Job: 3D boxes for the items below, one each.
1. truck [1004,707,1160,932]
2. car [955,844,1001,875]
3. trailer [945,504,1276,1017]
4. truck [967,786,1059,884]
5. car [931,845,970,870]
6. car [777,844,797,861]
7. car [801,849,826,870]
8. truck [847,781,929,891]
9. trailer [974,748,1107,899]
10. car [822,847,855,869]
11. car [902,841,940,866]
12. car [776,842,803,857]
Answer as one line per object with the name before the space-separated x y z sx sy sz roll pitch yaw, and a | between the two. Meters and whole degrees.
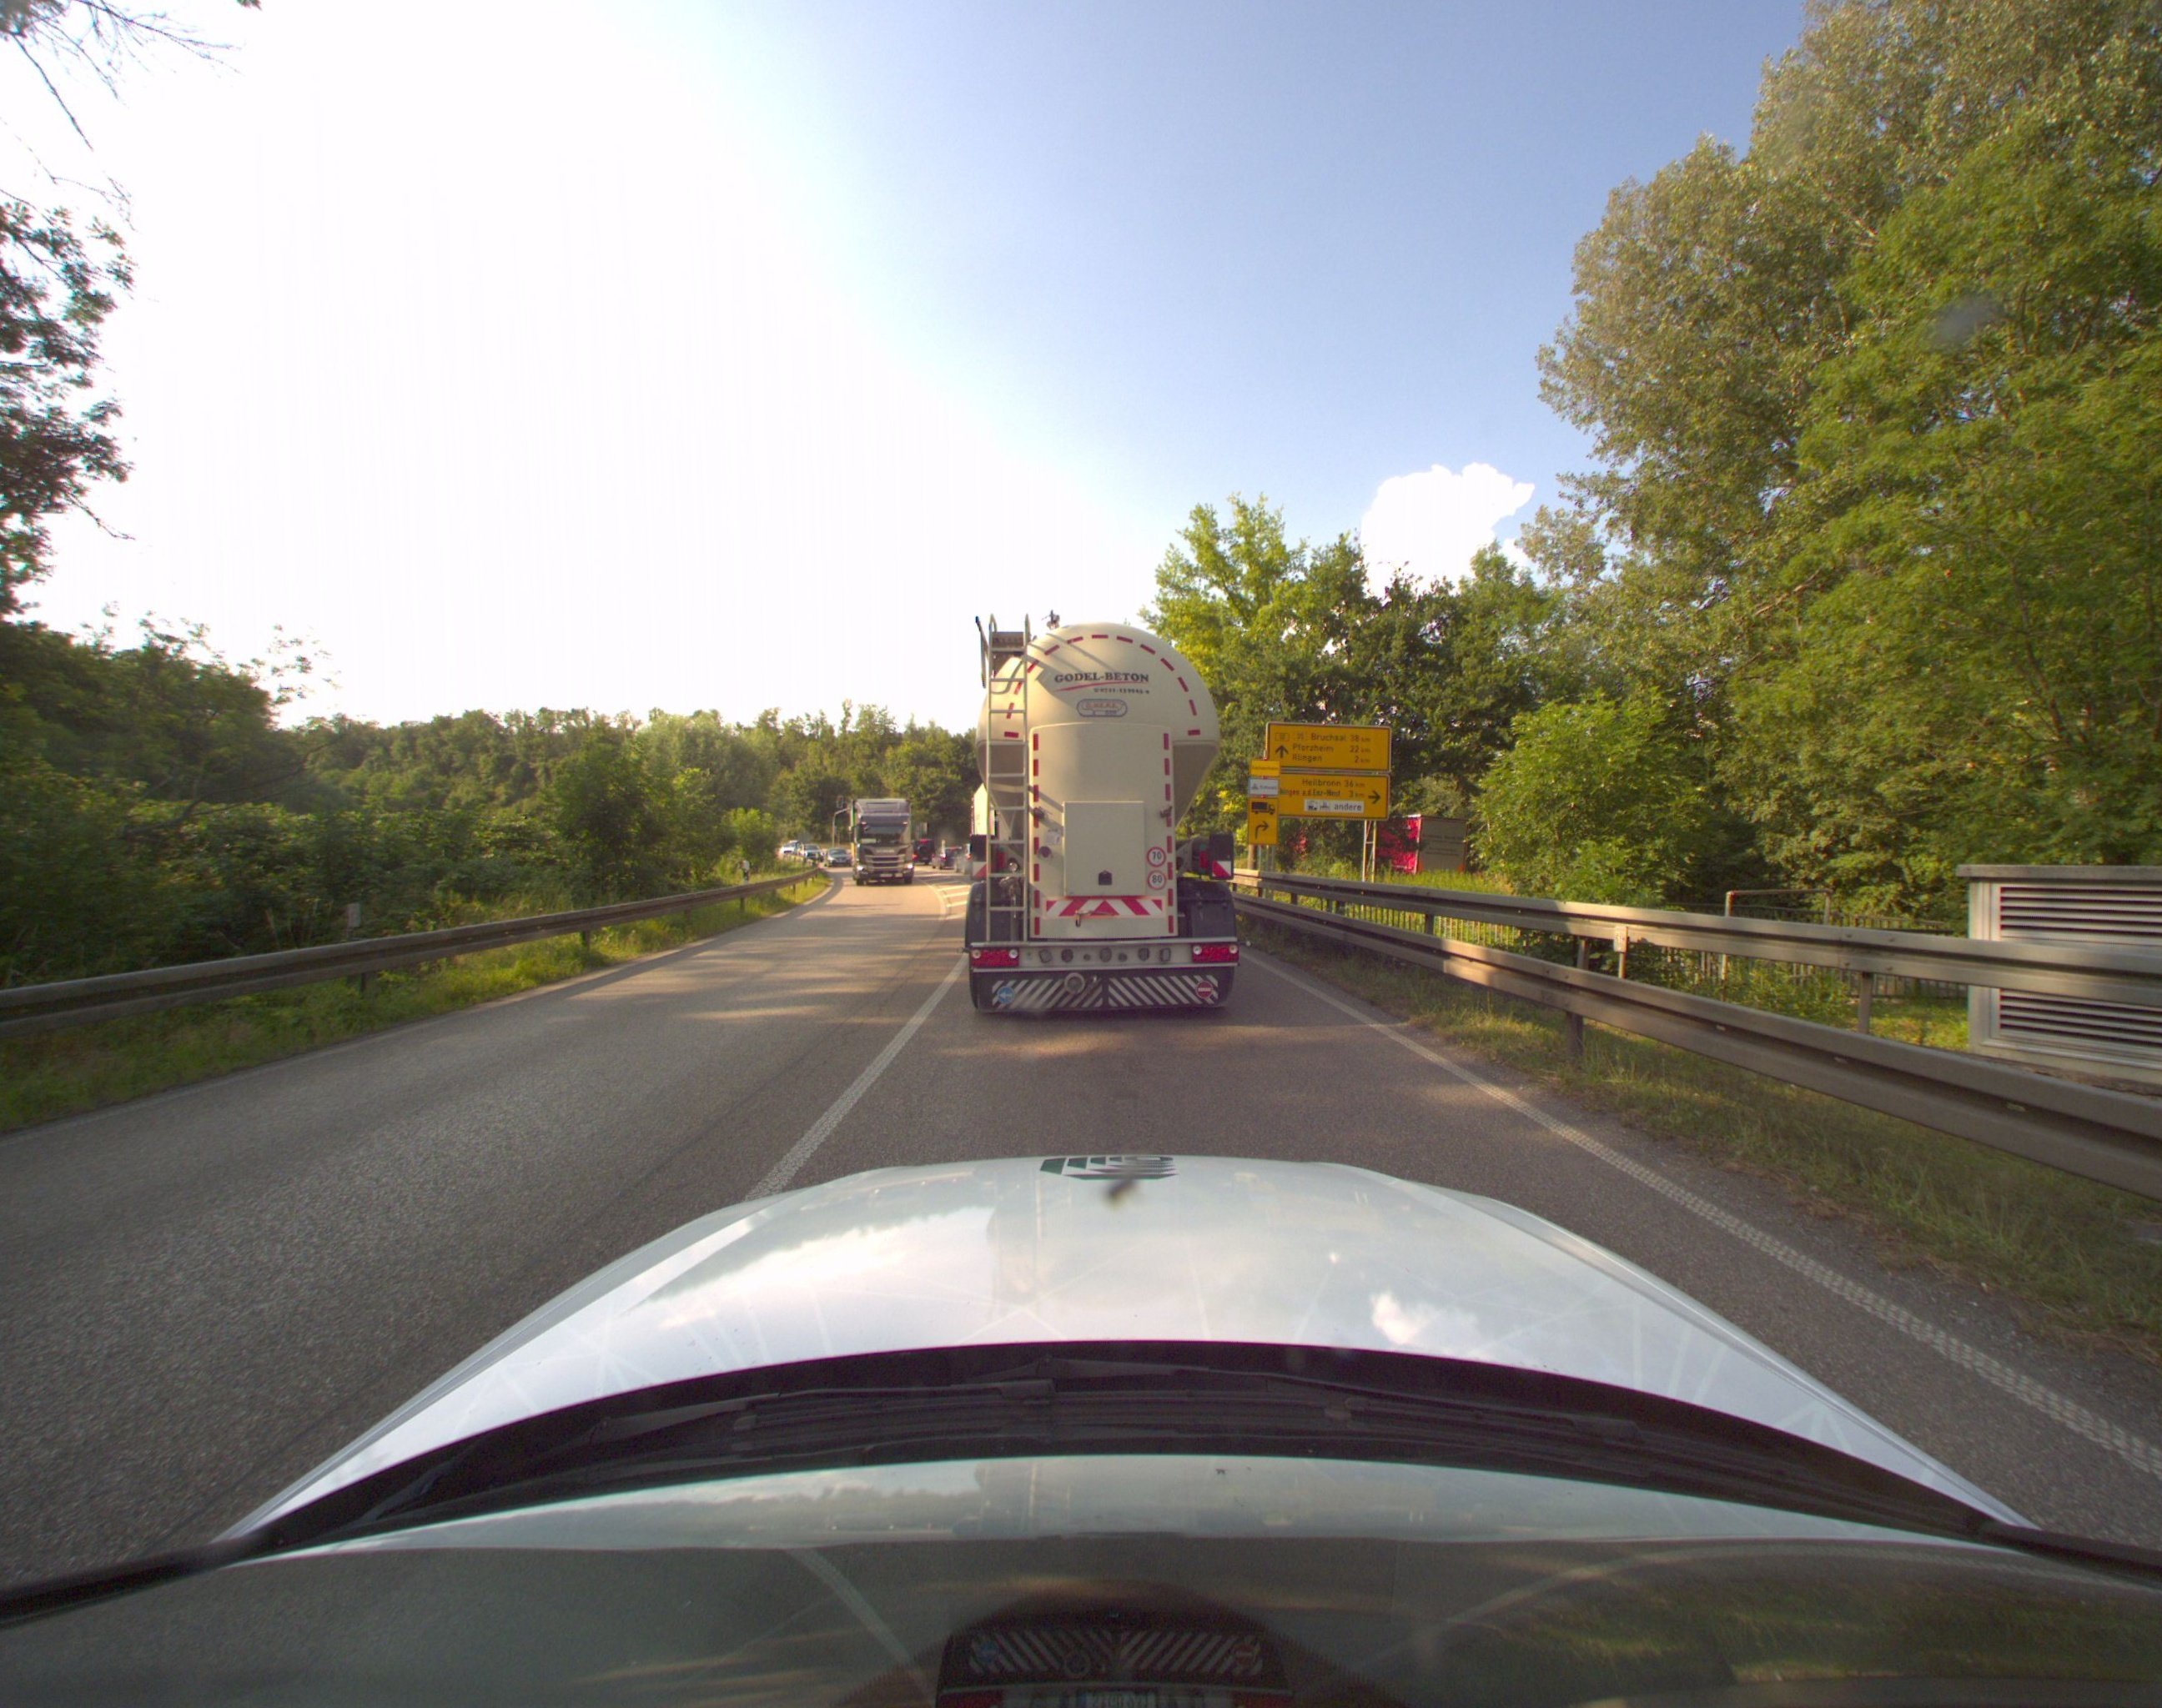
truck | -0.204 -0.634 17.666 2.819 4.035 5.884 0 0 -5
car | -5.912 0.275 46.236 1.873 1.628 3.976 -2 1 -18
trailer | 0.093 -0.819 11.928 2.879 4.454 9.597 0 0 -2
truck | -3.292 -0.839 37.704 3.453 4.086 6.464 0 1 -12
car | -8.731 0.217 54.115 1.873 1.564 3.974 -2 1 -19
car | -32.981 -0.141 91.525 1.872 1.851 3.977 1 0 -17
car | -24.332 0.471 74.012 1.875 1.851 3.972 -2 1 -21
truck | -9.557 -0.733 39.447 3.021 4.585 10.177 0 0 -18
trailer | -2.047 -0.876 30.971 3.545 4.513 12.940 1 0 -10
car | -18.434 0.277 61.911 1.876 1.556 3.969 2 0 -24
car | -12.392 -0.075 62.956 1.966 1.851 3.968 -2 1 -24
car | -36.005 -0.534 100.679 1.861 1.851 4.001 1 0 1
